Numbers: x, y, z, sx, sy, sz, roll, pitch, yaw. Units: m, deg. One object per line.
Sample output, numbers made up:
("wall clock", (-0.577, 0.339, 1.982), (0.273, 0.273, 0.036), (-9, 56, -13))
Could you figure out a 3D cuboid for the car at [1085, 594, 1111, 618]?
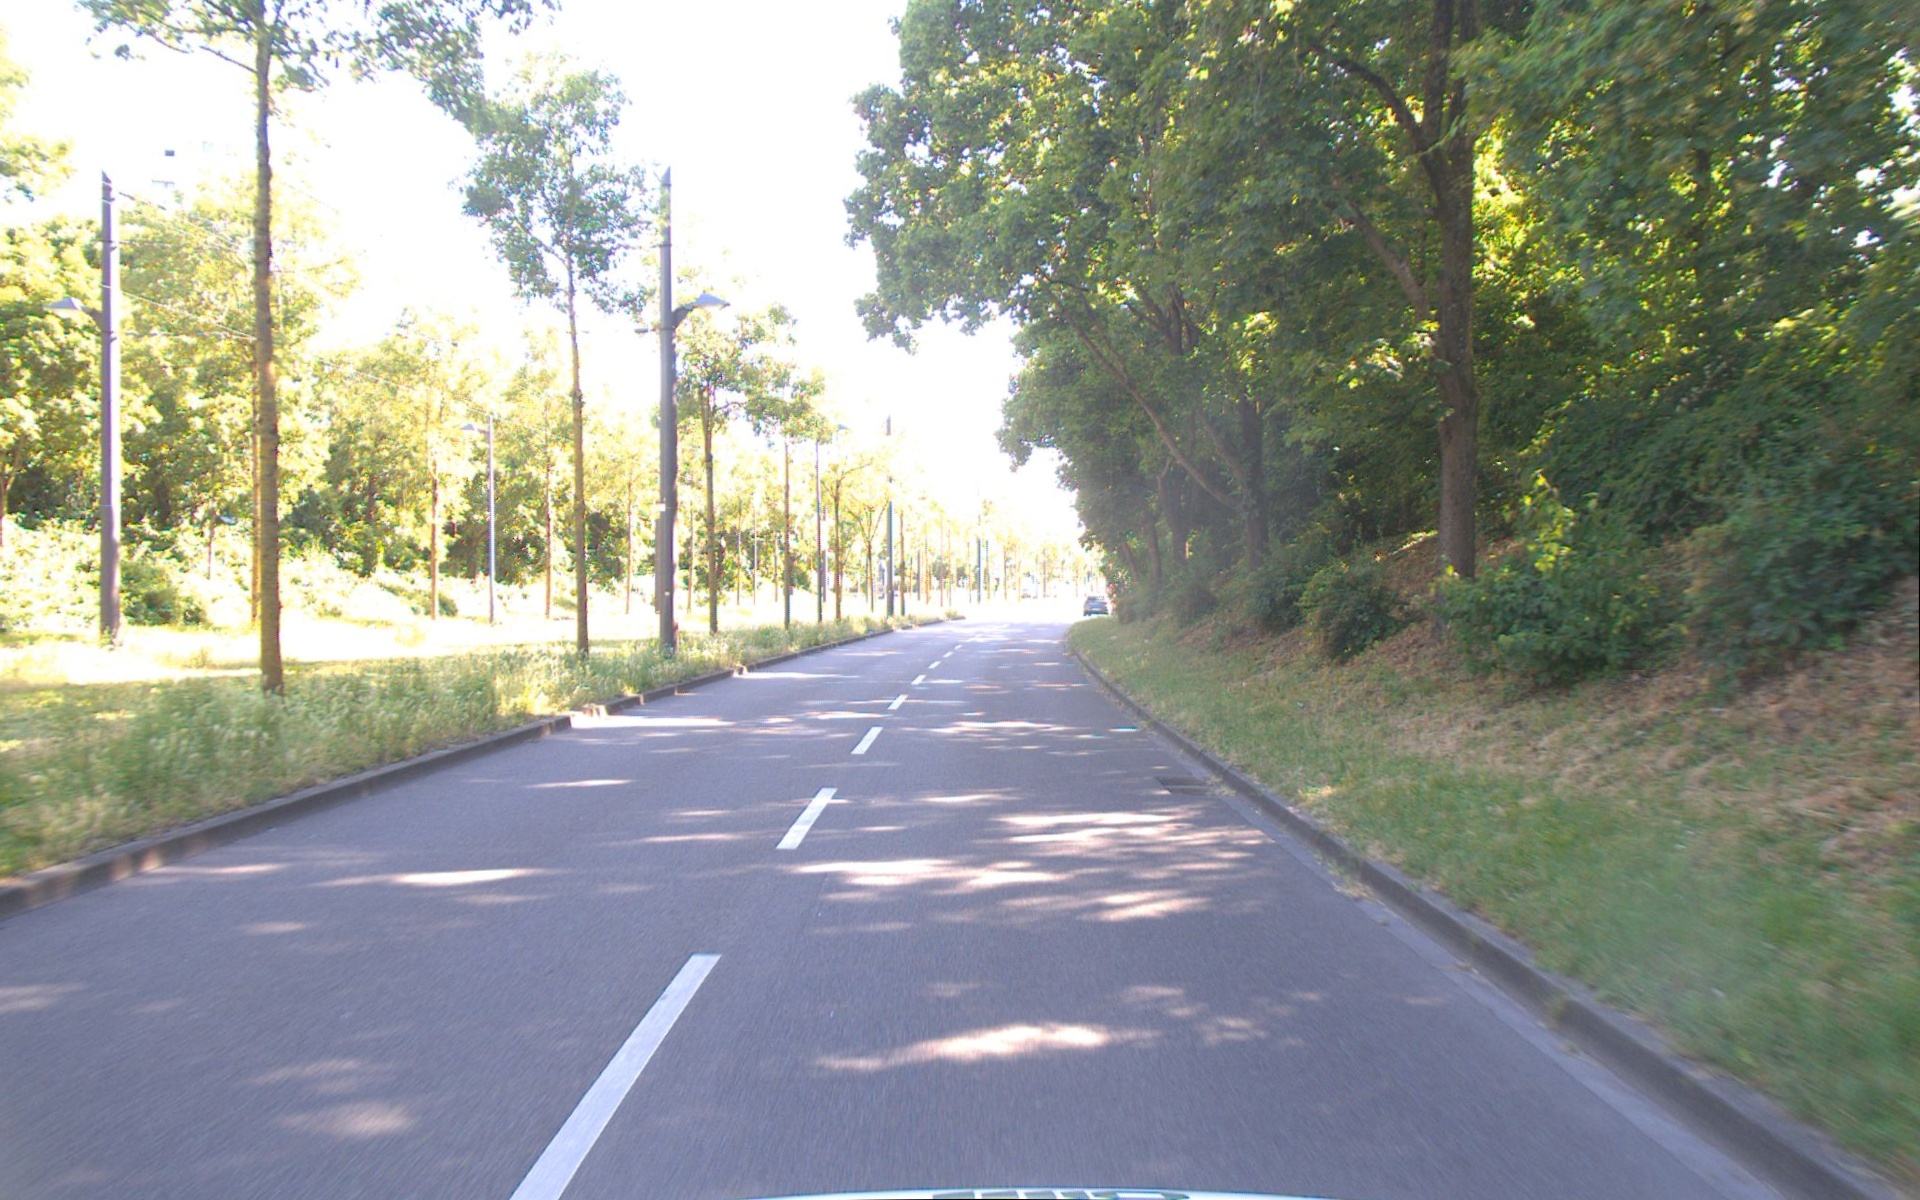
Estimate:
("car", (9.160, 0.351, 109.426), (1.599, 1.524, 4.238), (1, 0, 7))
